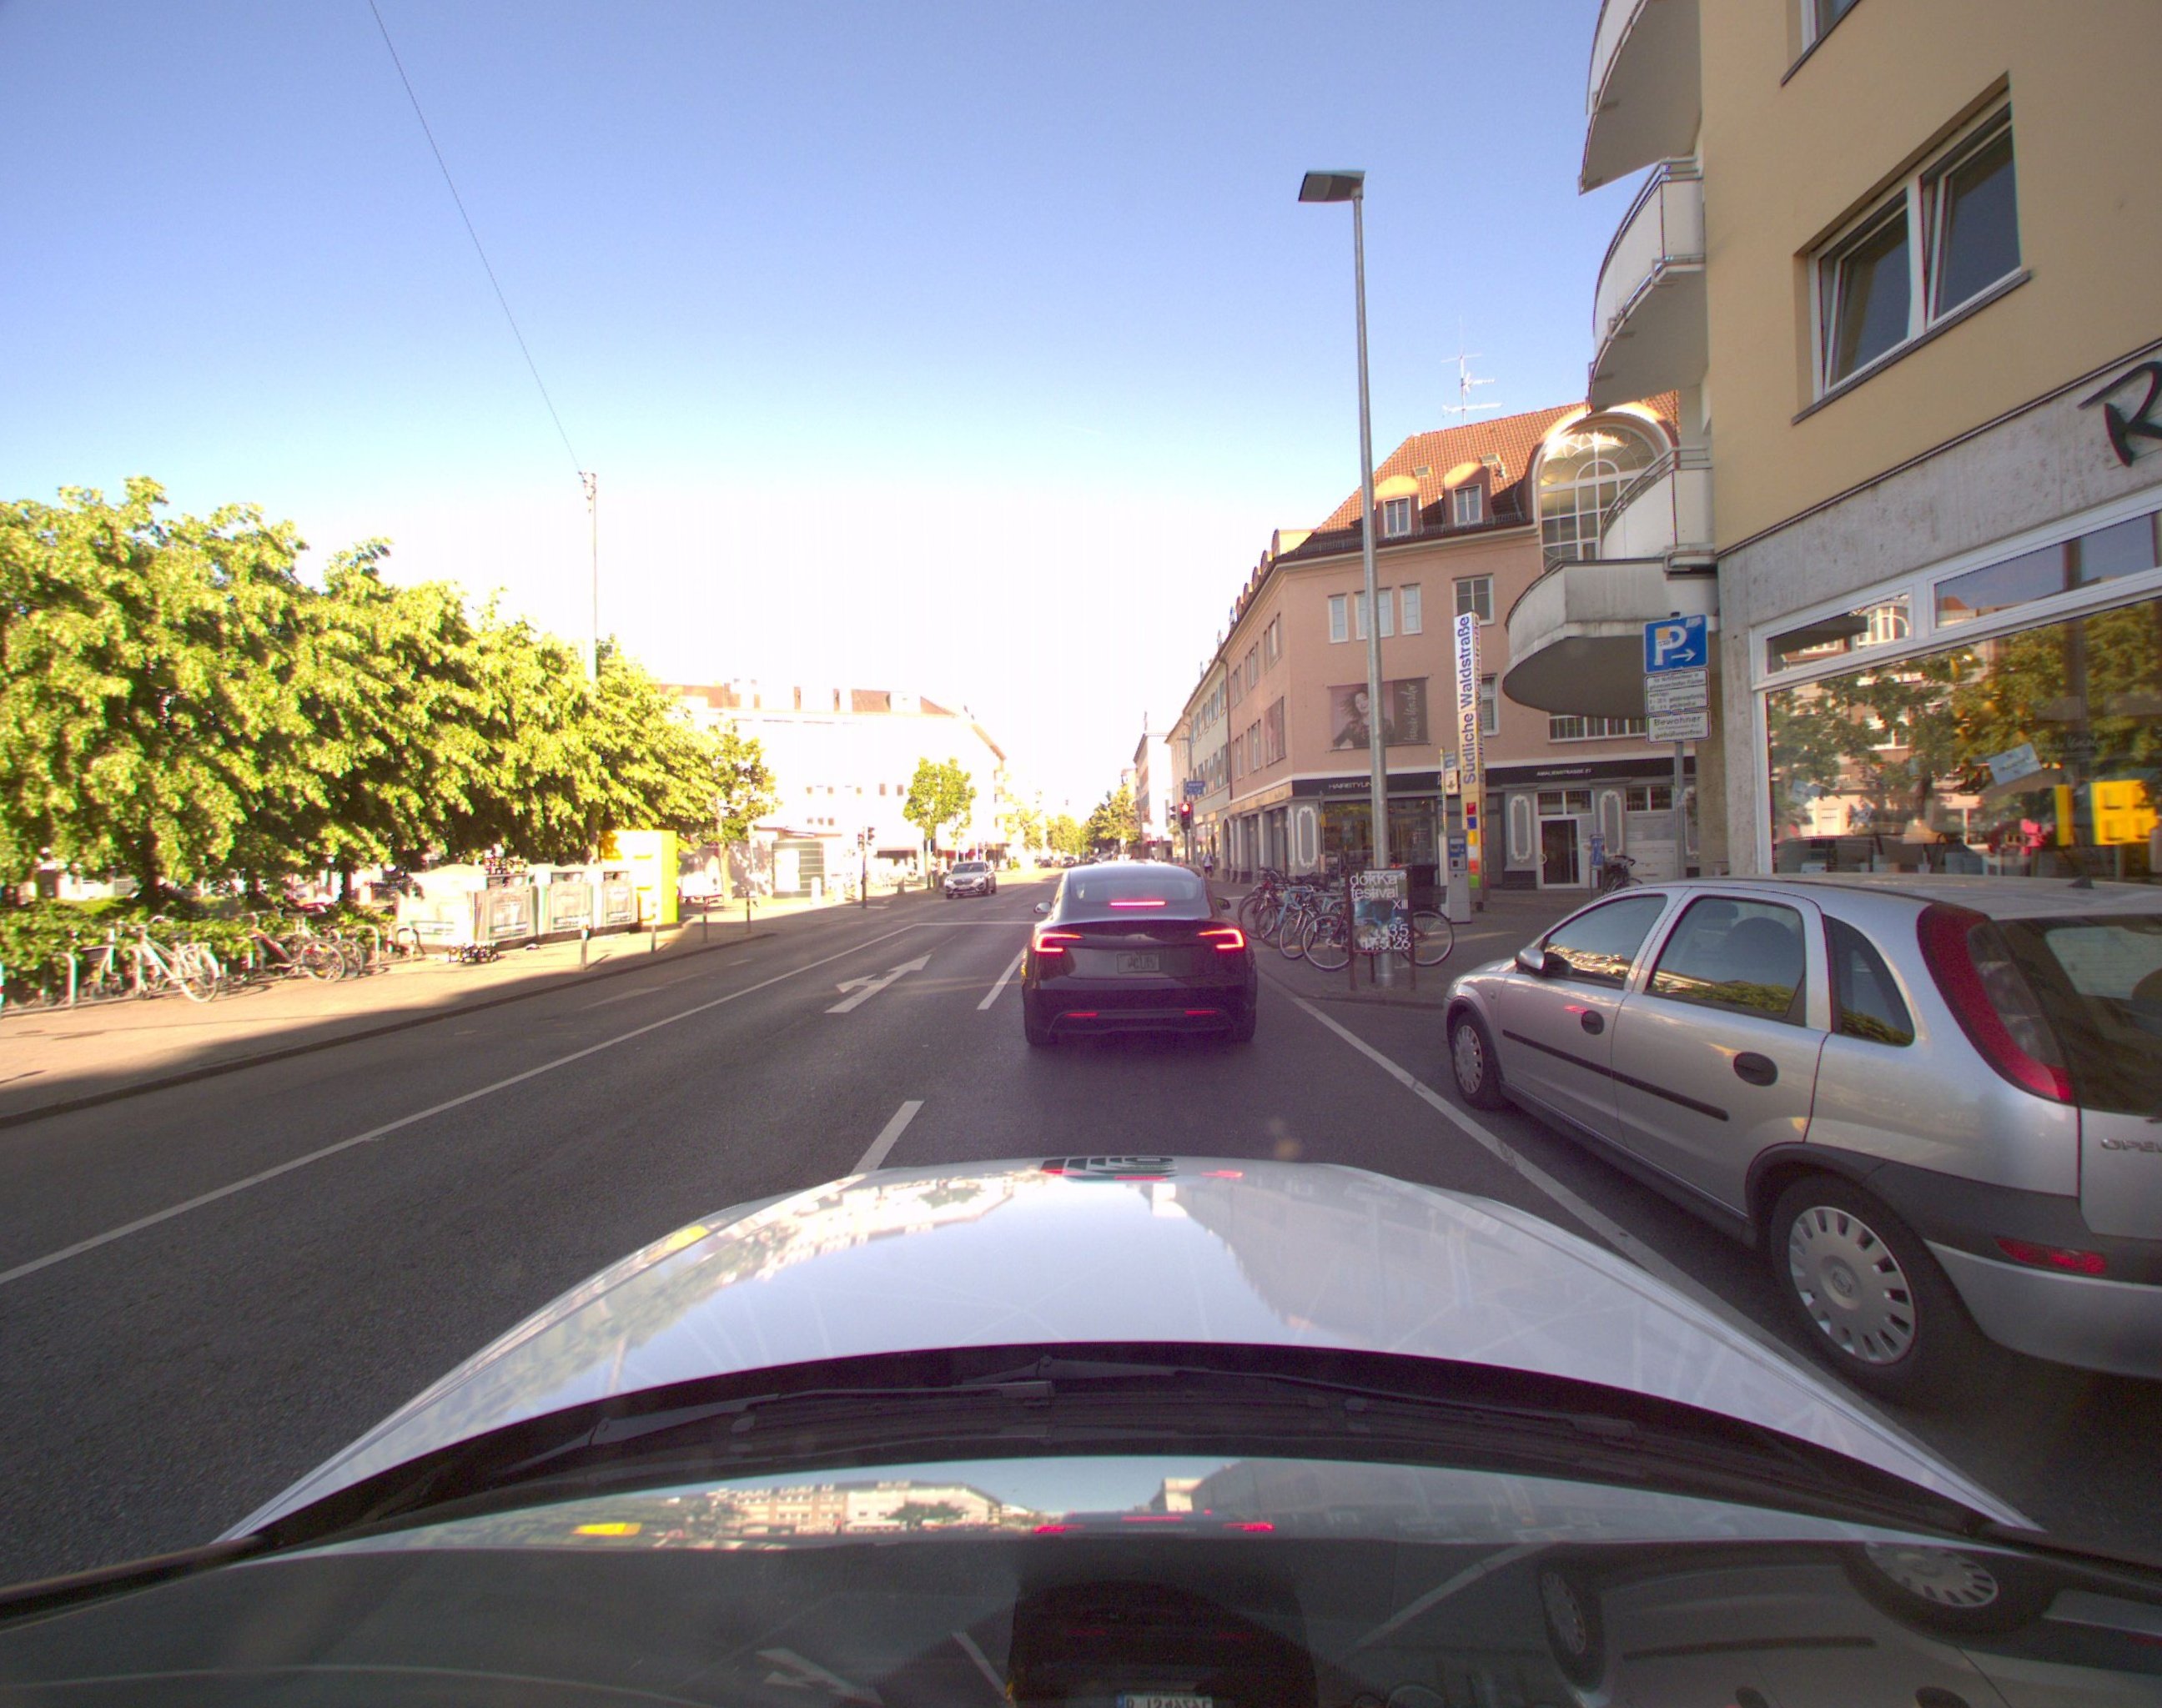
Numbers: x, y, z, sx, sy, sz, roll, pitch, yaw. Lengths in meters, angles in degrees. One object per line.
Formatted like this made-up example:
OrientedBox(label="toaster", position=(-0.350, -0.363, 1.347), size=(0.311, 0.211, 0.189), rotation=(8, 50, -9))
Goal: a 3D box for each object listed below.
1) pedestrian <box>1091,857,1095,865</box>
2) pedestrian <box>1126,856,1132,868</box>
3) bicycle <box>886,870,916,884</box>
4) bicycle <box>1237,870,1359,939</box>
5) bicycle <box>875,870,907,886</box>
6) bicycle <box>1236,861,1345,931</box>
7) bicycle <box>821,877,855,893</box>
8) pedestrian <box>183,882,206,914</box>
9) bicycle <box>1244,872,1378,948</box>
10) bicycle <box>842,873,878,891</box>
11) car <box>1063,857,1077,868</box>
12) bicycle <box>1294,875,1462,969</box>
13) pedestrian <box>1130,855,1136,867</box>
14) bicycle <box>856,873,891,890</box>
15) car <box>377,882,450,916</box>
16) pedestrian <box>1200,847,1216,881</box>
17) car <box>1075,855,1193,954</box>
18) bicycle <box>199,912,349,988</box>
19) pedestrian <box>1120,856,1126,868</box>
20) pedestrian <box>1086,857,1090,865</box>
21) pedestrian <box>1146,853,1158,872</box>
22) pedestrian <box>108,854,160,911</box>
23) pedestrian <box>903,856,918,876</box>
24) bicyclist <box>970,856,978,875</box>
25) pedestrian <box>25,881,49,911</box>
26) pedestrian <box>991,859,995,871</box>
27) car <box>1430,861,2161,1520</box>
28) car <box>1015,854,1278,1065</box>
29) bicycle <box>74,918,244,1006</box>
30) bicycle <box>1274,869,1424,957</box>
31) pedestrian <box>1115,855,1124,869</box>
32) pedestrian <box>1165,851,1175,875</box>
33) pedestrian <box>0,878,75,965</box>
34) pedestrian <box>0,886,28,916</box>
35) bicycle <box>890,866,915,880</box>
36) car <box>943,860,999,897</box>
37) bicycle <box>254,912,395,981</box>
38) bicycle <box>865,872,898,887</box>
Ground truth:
OrientedBox(label="pedestrian", position=(3.032, 1.725, 202.465), size=(0.927, 2.014, 0.939), rotation=(0, -1, 1))
OrientedBox(label="pedestrian", position=(5.674, 0.982, 95.319), size=(0.524, 1.422, 0.475), rotation=(0, -1, -28))
OrientedBox(label="bicycle", position=(-12.188, 1.561, 55.034), size=(1.857, 0.934, 0.606), rotation=(-1, 0, 0))
OrientedBox(label="bicycle", position=(3.617, 0.835, 13.673), size=(1.863, 1.038, 0.548), rotation=(-3, -1, 7))
OrientedBox(label="bicycle", position=(-12.267, 1.541, 52.585), size=(1.857, 0.934, 0.606), rotation=(-1, 0, 0))
OrientedBox(label="bicycle", position=(3.779, 0.756, 14.784), size=(1.818, 1.169, 0.507), rotation=(-3, -1, 7))
OrientedBox(label="bicycle", position=(-12.838, 1.631, 43.075), size=(1.640, 0.792, 0.606), rotation=(0, -1, -3))
OrientedBox(label="pedestrian", position=(-48.861, 2.434, 44.888), size=(0.842, 1.717, 0.761), rotation=(-2, -1, 35))
OrientedBox(label="bicycle", position=(3.490, 0.847, 12.460), size=(1.864, 1.038, 0.534), rotation=(-3, -1, 5))
OrientedBox(label="bicycle", position=(-12.395, 1.568, 45.653), size=(1.857, 0.934, 0.606), rotation=(-1, 0, 0))
OrientedBox(label="car", position=(-1.575, 1.231, 119.137), size=(1.780, 1.646, 4.404), rotation=(0, -1, 2))
OrientedBox(label="bicycle", position=(3.630, 0.833, 10.037), size=(1.862, 1.038, 0.354), rotation=(-3, -1, 8))
OrientedBox(label="pedestrian", position=(6.126, 0.842, 95.887), size=(0.524, 1.422, 0.475), rotation=(0, -1, -28))
OrientedBox(label="bicycle", position=(-12.149, 1.613, 47.737), size=(1.857, 0.934, 0.606), rotation=(0, -1, 0))
OrientedBox(label="car", position=(-30.162, 1.979, 36.782), size=(3.526, 1.386, 1.703), rotation=(-1, 0, 36))
OrientedBox(label="pedestrian", position=(6.702, 0.529, 42.981), size=(0.747, 1.765, 0.838), rotation=(0, -1, 6))
OrientedBox(label="car", position=(0.796, 0.745, 13.887), size=(1.712, 1.425, 3.757), rotation=(-1, 0, 0))
OrientedBox(label="bicycle", position=(-11.522, 1.348, 11.638), size=(1.913, 1.003, 0.518), rotation=(-1, -1, 11))
OrientedBox(label="pedestrian", position=(4.900, 0.893, 95.827), size=(0.474, 1.417, 0.517), rotation=(0, -1, -29))
OrientedBox(label="pedestrian", position=(1.754, 1.736, 202.642), size=(0.927, 2.014, 0.939), rotation=(0, -1, 1))
OrientedBox(label="pedestrian", position=(6.066, 0.740, 69.378), size=(0.756, 1.631, 0.951), rotation=(0, -1, -16))
OrientedBox(label="pedestrian", position=(-34.423, 1.030, 29.609), size=(0.890, 2.013, 0.893), rotation=(-1, 0, 15))
OrientedBox(label="pedestrian", position=(-17.098, 1.195, 81.643), size=(1.047, 2.014, 1.061), rotation=(-1, -1, 44))
OrientedBox(label="bicyclist", position=(-8.731, 0.923, 66.501), size=(0.525, 1.503, 0.472), rotation=(0, -1, -24))
OrientedBox(label="pedestrian", position=(-77.737, 3.138, 60.644), size=(0.891, 2.171, 0.882), rotation=(-1, -1, 26))
OrientedBox(label="pedestrian", position=(-10.237, 1.262, 94.555), size=(0.459, 1.460, 0.517), rotation=(-1, 0, -3))
OrientedBox(label="car", position=(2.954, 0.740, 3.482), size=(1.540, 1.390, 3.479), rotation=(-1, -1, 3))
OrientedBox(label="car", position=(0.521, 0.757, 7.717), size=(1.815, 1.442, 4.001), rotation=(-1, -1, 2))
OrientedBox(label="bicycle", position=(-11.622, 1.335, 10.273), size=(1.919, 1.015, 0.518), rotation=(-1, -1, 12))
OrientedBox(label="bicycle", position=(3.653, 0.802, 11.201), size=(1.864, 1.087, 0.415), rotation=(-3, -1, 5))
OrientedBox(label="pedestrian", position=(4.922, 1.045, 103.858), size=(0.719, 1.695, 0.843), rotation=(-1, 0, -26))
OrientedBox(label="pedestrian", position=(6.598, 0.656, 60.468), size=(0.704, 1.742, 0.540), rotation=(-1, 0, 1))
OrientedBox(label="pedestrian", position=(-25.276, 1.592, 19.525), size=(1.051, 2.014, 0.971), rotation=(0, -1, -10))
OrientedBox(label="pedestrian", position=(-74.357, 3.286, 56.745), size=(0.904, 2.014, 0.870), rotation=(0, -1, -25))
OrientedBox(label="bicycle", position=(-17.211, 1.820, 78.526), size=(2.373, 1.296, 0.509), rotation=(0, -1, -25))
OrientedBox(label="car", position=(-4.855, 1.044, 36.434), size=(1.782, 1.460, 3.759), rotation=(-4, -1, 2))
OrientedBox(label="bicycle", position=(-11.320, 1.367, 12.196), size=(1.888, 0.955, 0.518), rotation=(-1, -1, 11))
OrientedBox(label="bicycle", position=(-12.274, 1.573, 50.216), size=(1.857, 0.934, 0.606), rotation=(0, -1, 0))
